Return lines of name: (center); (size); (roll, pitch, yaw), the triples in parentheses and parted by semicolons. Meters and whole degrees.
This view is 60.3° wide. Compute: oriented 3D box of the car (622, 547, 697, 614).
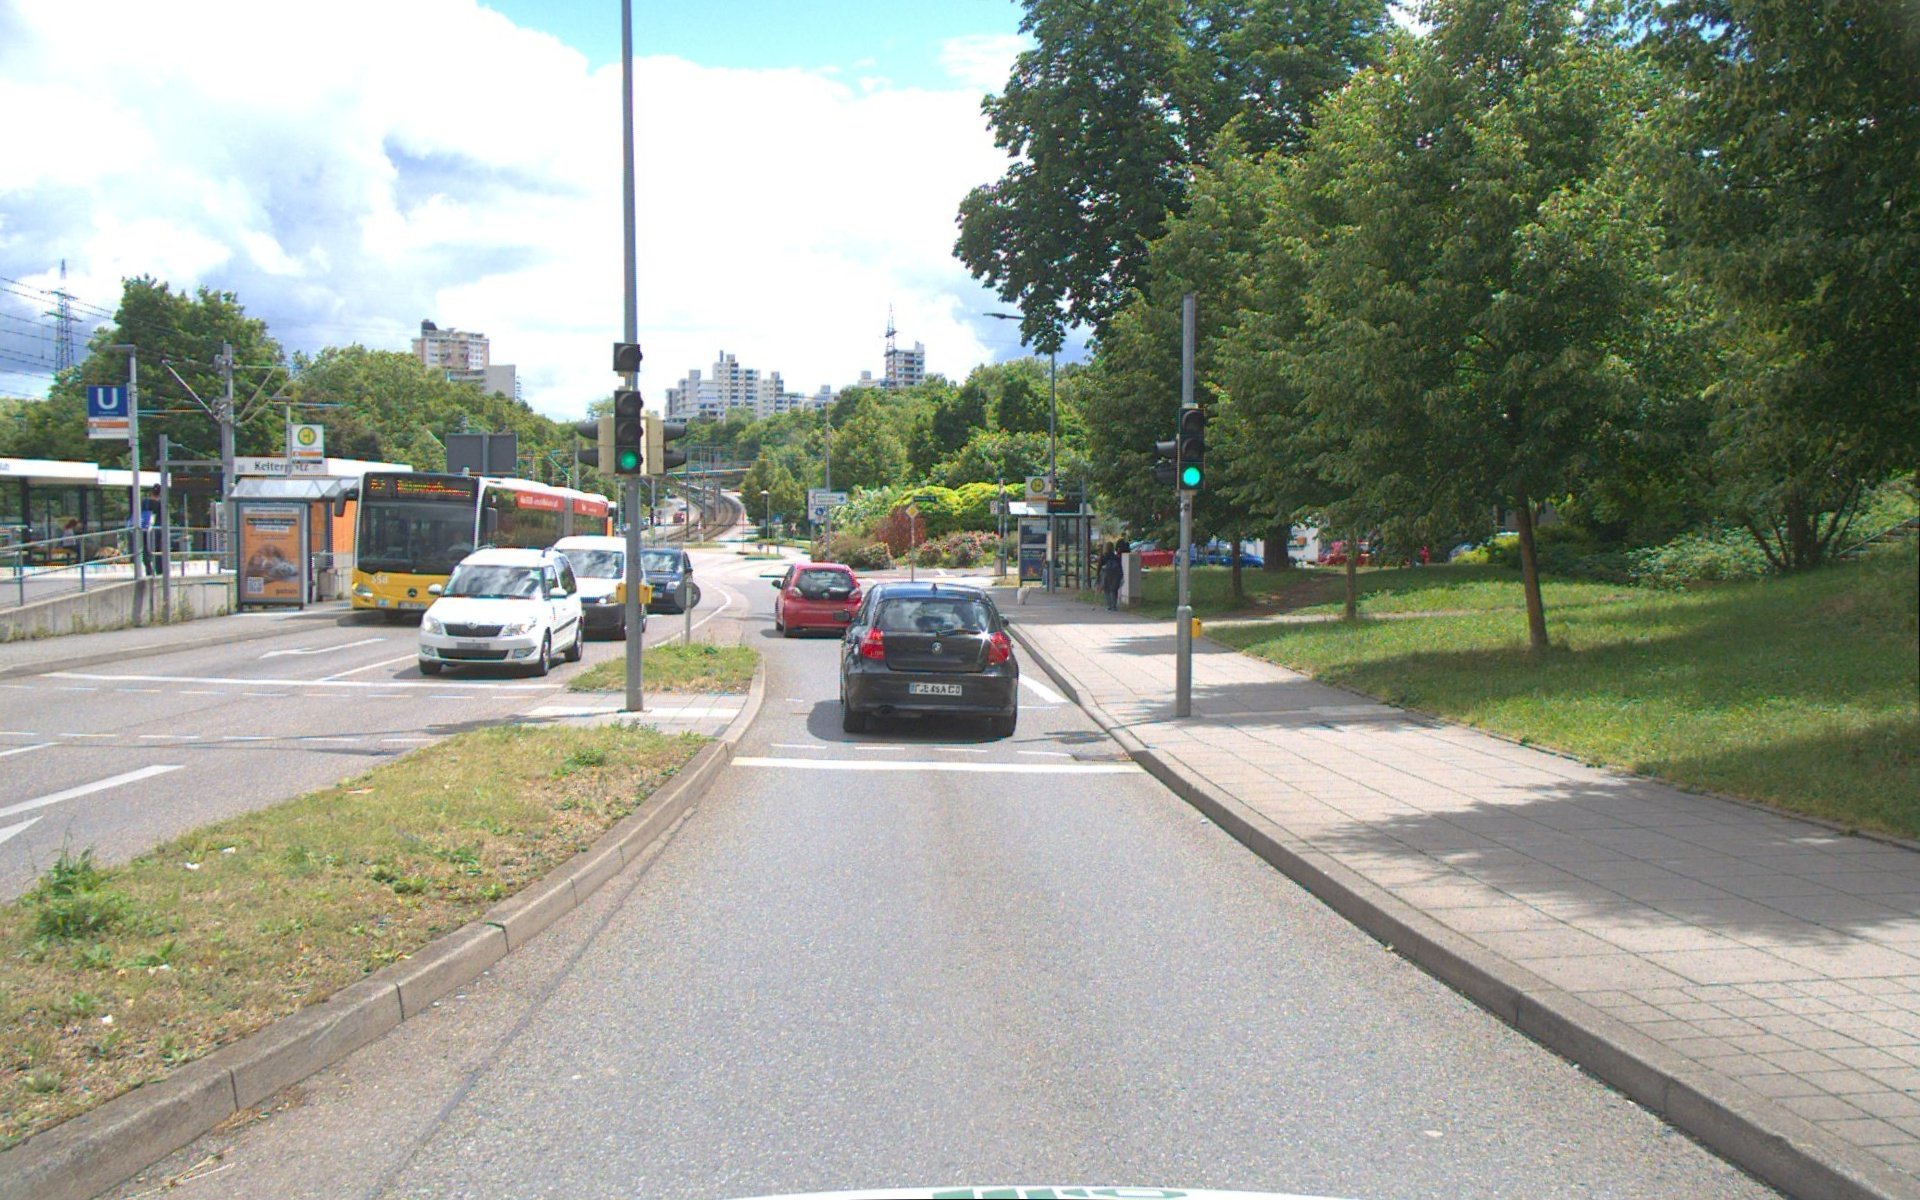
car: (-7.570, -0.523, 41.861); (1.500, 1.578, 3.729); (2, 2, -5)

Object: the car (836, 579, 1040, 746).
car: (-0.343, 0.543, 17.128); (1.780, 1.445, 3.996); (-1, 1, -6)

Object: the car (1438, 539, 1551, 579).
car: (21.967, -1.709, 68.037); (4.002, 1.586, 1.997); (-1, 2, -8)

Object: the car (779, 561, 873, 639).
car: (-2.770, -0.042, 33.631); (1.732, 1.457, 3.474); (-1, 2, -7)

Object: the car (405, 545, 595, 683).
car: (-6.219, 0.112, 22.786); (1.665, 1.677, 4.077); (1, 2, -3)

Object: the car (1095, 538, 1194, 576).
car: (8.393, -1.953, 75.304); (4.080, 1.588, 1.997); (-1, 5, -10)

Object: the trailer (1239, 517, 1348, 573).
trailer: (15.360, -2.554, 76.368); (4.450, 2.529, 2.219); (0, 3, -7)

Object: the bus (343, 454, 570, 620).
bus: (-10.767, -1.306, 36.505); (2.672, 3.163, 9.697); (0, 1, -4)

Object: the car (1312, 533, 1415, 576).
car: (16.351, -1.850, 67.144); (3.616, 1.672, 1.828); (0, 3, -7)

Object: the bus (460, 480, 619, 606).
bus: (-11.448, -1.623, 45.882); (2.672, 3.122, 8.959); (0, 3, -4)

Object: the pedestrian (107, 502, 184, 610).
pedestrian: (-15.699, -0.847, 31.912); (0.951, 2.048, 1.028); (0, 1, -2)

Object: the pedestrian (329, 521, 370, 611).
pedestrian: (-14.080, -0.796, 38.175); (0.689, 2.048, 0.826); (-1, 1, -9)

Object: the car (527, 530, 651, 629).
car: (-6.821, -0.329, 30.816); (1.728, 1.692, 4.499); (-1, -1, -6)

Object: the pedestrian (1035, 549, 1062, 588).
pedestrian: (2.932, -1.036, 54.796); (0.810, 1.280, 0.686); (0, 2, -2)

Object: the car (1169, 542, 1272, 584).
car: (10.453, -1.510, 66.515); (3.721, 1.481, 1.894); (-2, 4, -7)

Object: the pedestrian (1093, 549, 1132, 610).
pedestrian: (3.620, -0.492, 39.390); (0.803, 1.449, 0.829); (0, 1, -4)

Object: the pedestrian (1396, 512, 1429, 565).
pedestrian: (15.403, -2.083, 56.331); (0.965, 1.791, 0.859); (0, 1, 5)
